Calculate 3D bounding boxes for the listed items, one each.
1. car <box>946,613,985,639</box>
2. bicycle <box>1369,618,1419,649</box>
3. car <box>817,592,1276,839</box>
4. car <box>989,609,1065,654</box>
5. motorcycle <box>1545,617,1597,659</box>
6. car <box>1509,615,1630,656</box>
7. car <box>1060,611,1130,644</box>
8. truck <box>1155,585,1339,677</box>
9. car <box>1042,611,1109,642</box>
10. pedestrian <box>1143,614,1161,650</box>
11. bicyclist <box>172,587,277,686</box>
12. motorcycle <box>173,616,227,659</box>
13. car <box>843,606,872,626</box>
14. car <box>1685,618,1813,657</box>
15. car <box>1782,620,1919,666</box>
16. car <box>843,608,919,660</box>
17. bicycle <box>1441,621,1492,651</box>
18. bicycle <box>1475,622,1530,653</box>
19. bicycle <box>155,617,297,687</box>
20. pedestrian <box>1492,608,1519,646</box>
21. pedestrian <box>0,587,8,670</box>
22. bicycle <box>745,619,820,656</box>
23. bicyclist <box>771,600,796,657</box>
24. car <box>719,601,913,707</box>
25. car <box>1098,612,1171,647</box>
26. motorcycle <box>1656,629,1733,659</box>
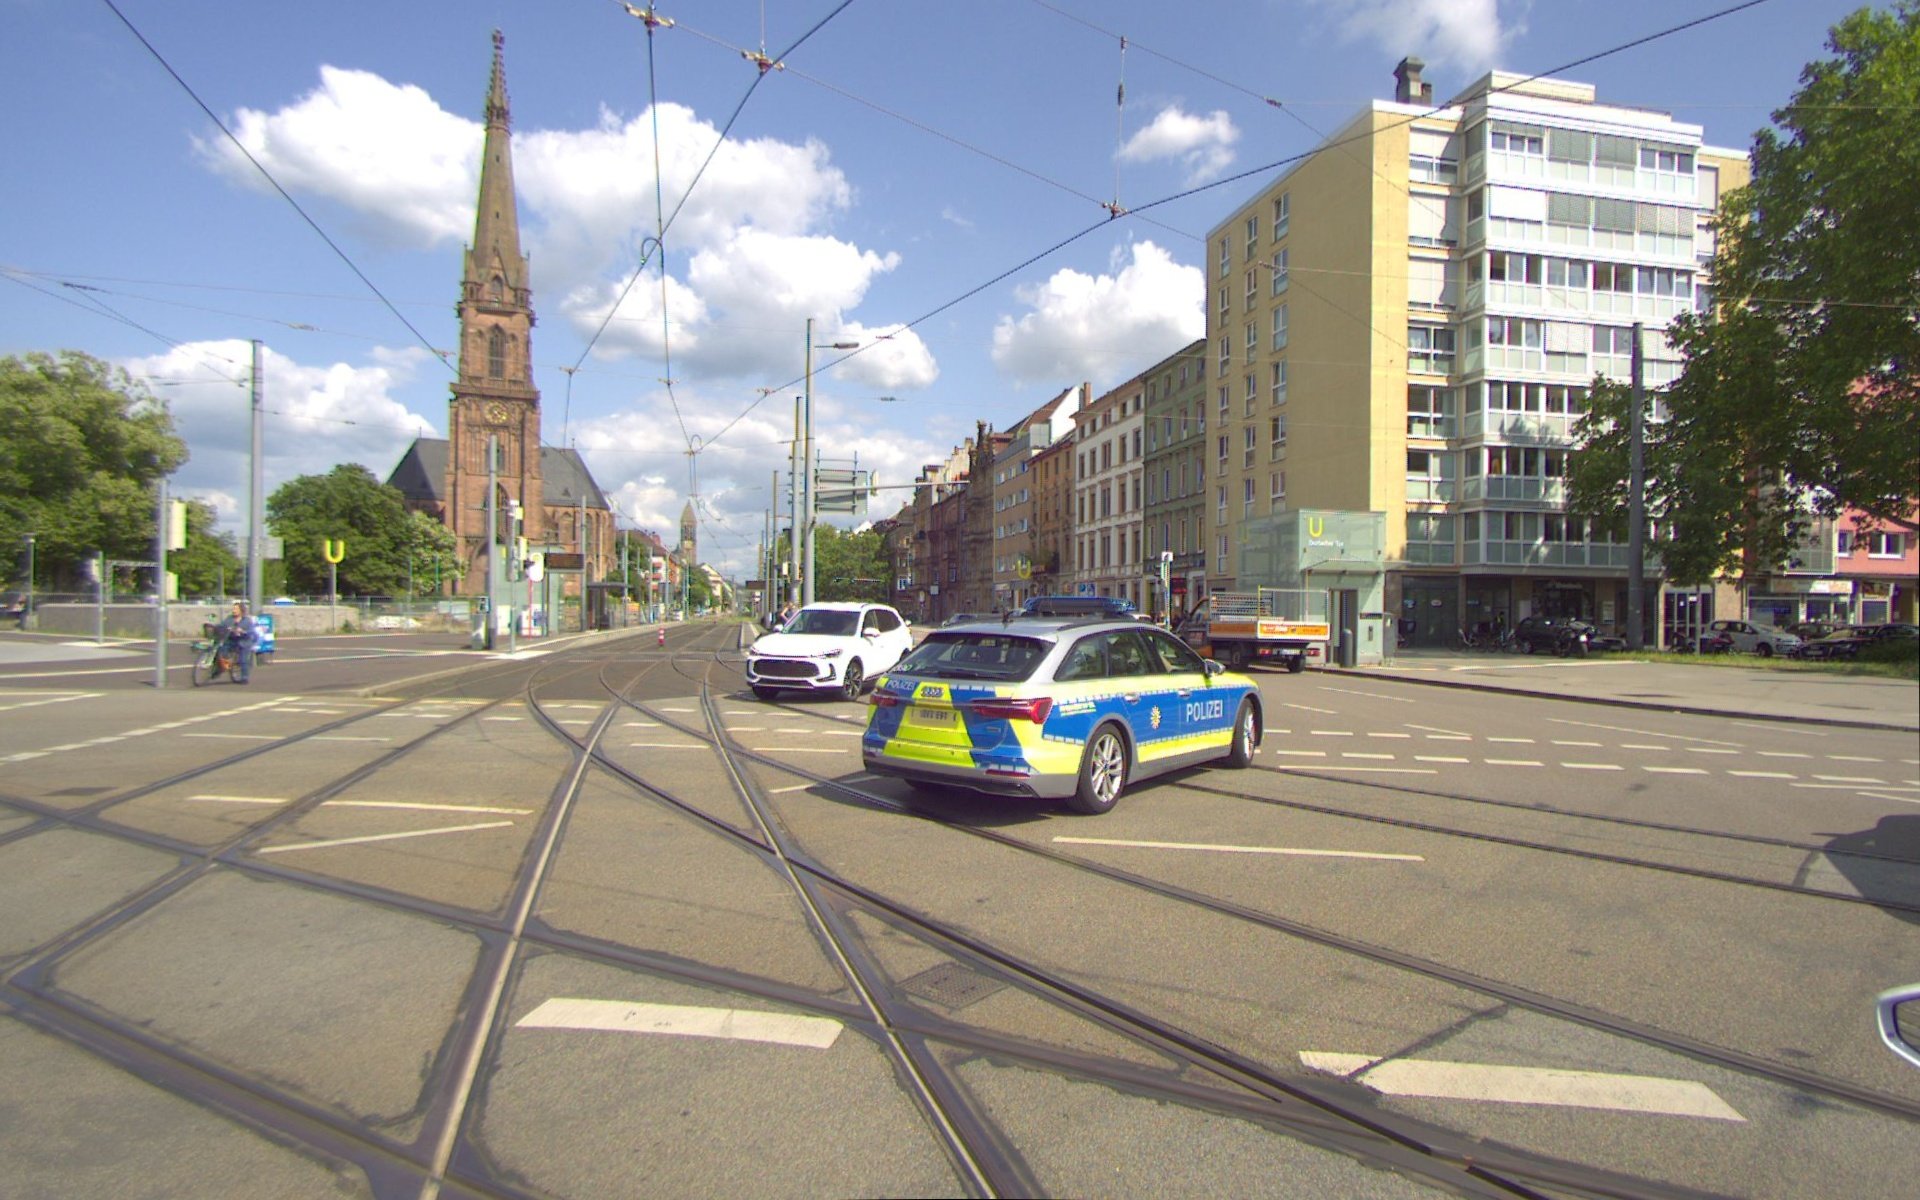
[{"bbox_3d":[0.291,1.516,59.984,1.711,1.395,3.994,1,0,-9],"label":"car"},{"bbox_3d":[18.453,1.407,42.752,1.775,1.275,0.796,0,0,-4],"label":"bicycle"},{"bbox_3d":[1.050,0.776,8.865,1.856,1.589,4.596,0,-1,38],"label":"car"},{"bbox_3d":[2.362,1.088,36.181,1.821,1.494,3.993,0,0,-10],"label":"car"},{"bbox_3d":[19.342,1.184,31.839,0.888,1.254,2.219,-1,-1,18],"label":"motorcycle"},{"bbox_3d":[23.587,1.347,39.009,1.645,1.416,3.988,2,-1,-15],"label":"car"},{"bbox_3d":[6.651,1.363,49.122,1.868,1.516,3.889,1,-1,34],"label":"car"},{"bbox_3d":[7.473,0.785,26.972,2.305,2.184,5.839,1,-1,-12],"label":"truck"},{"bbox_3d":[6.077,1.402,52.549,1.868,1.516,3.889,1,-1,34],"label":"car"},{"bbox_3d":[8.242,1.374,43.175,0.545,1.554,0.699,1,-1,-8],"label":"pedestrian"},{"bbox_3d":[-13.600,0.675,18.622,0.975,1.754,1.301,1,-1,-2],"label":"bicyclist"},{"bbox_3d":[-23.097,1.133,30.547,0.474,1.253,1.447,1,-1,2],"label":"motorcycle"},{"bbox_3d":[-8.993,1.404,87.866,2.011,1.599,4.528,0,0,-12],"label":"car"},{"bbox_3d":[32.984,1.547,42.125,1.772,1.515,3.989,1,-1,-14],"label":"car"},{"bbox_3d":[30.594,1.472,34.282,3.930,1.432,1.908,2,-1,-12],"label":"car"},{"bbox_3d":[-2.608,1.045,32.257,1.965,1.548,4.085,0,-1,-11],"label":"car"},{"bbox_3d":[20.066,1.412,39.826,0.784,1.162,1.803,0,0,-17],"label":"bicycle"},{"bbox_3d":[21.340,1.453,39.558,0.784,1.162,1.942,0,0,-17],"label":"bicycle"},{"bbox_3d":[-13.614,0.942,18.738,0.975,1.204,2.300,1,-1,-2],"label":"bicycle"},{"bbox_3d":[24.004,1.185,44.213,0.843,1.629,0.832,1,1,18],"label":"pedestrian"},{"bbox_3d":[-21.724,0.629,22.012,1.007,1.822,0.768,1,1,4],"label":"pedestrian"},{"bbox_3d":[-5.834,1.223,32.926,2.320,1.153,0.886,1,1,-19],"label":"bicycle"},{"bbox_3d":[-5.786,0.917,32.932,0.699,1.822,0.776,0,2,-18],"label":"bicyclist"},{"bbox_3d":[-2.420,0.886,18.093,2.001,1.661,4.290,0,-1,14],"label":"car"},{"bbox_3d":[8.203,1.379,47.074,1.868,1.516,3.888,1,-1,35],"label":"car"},{"bbox_3d":[24.104,1.426,32.972,2.012,0.929,0.808,-1,-1,38],"label":"motorcycle"}]
